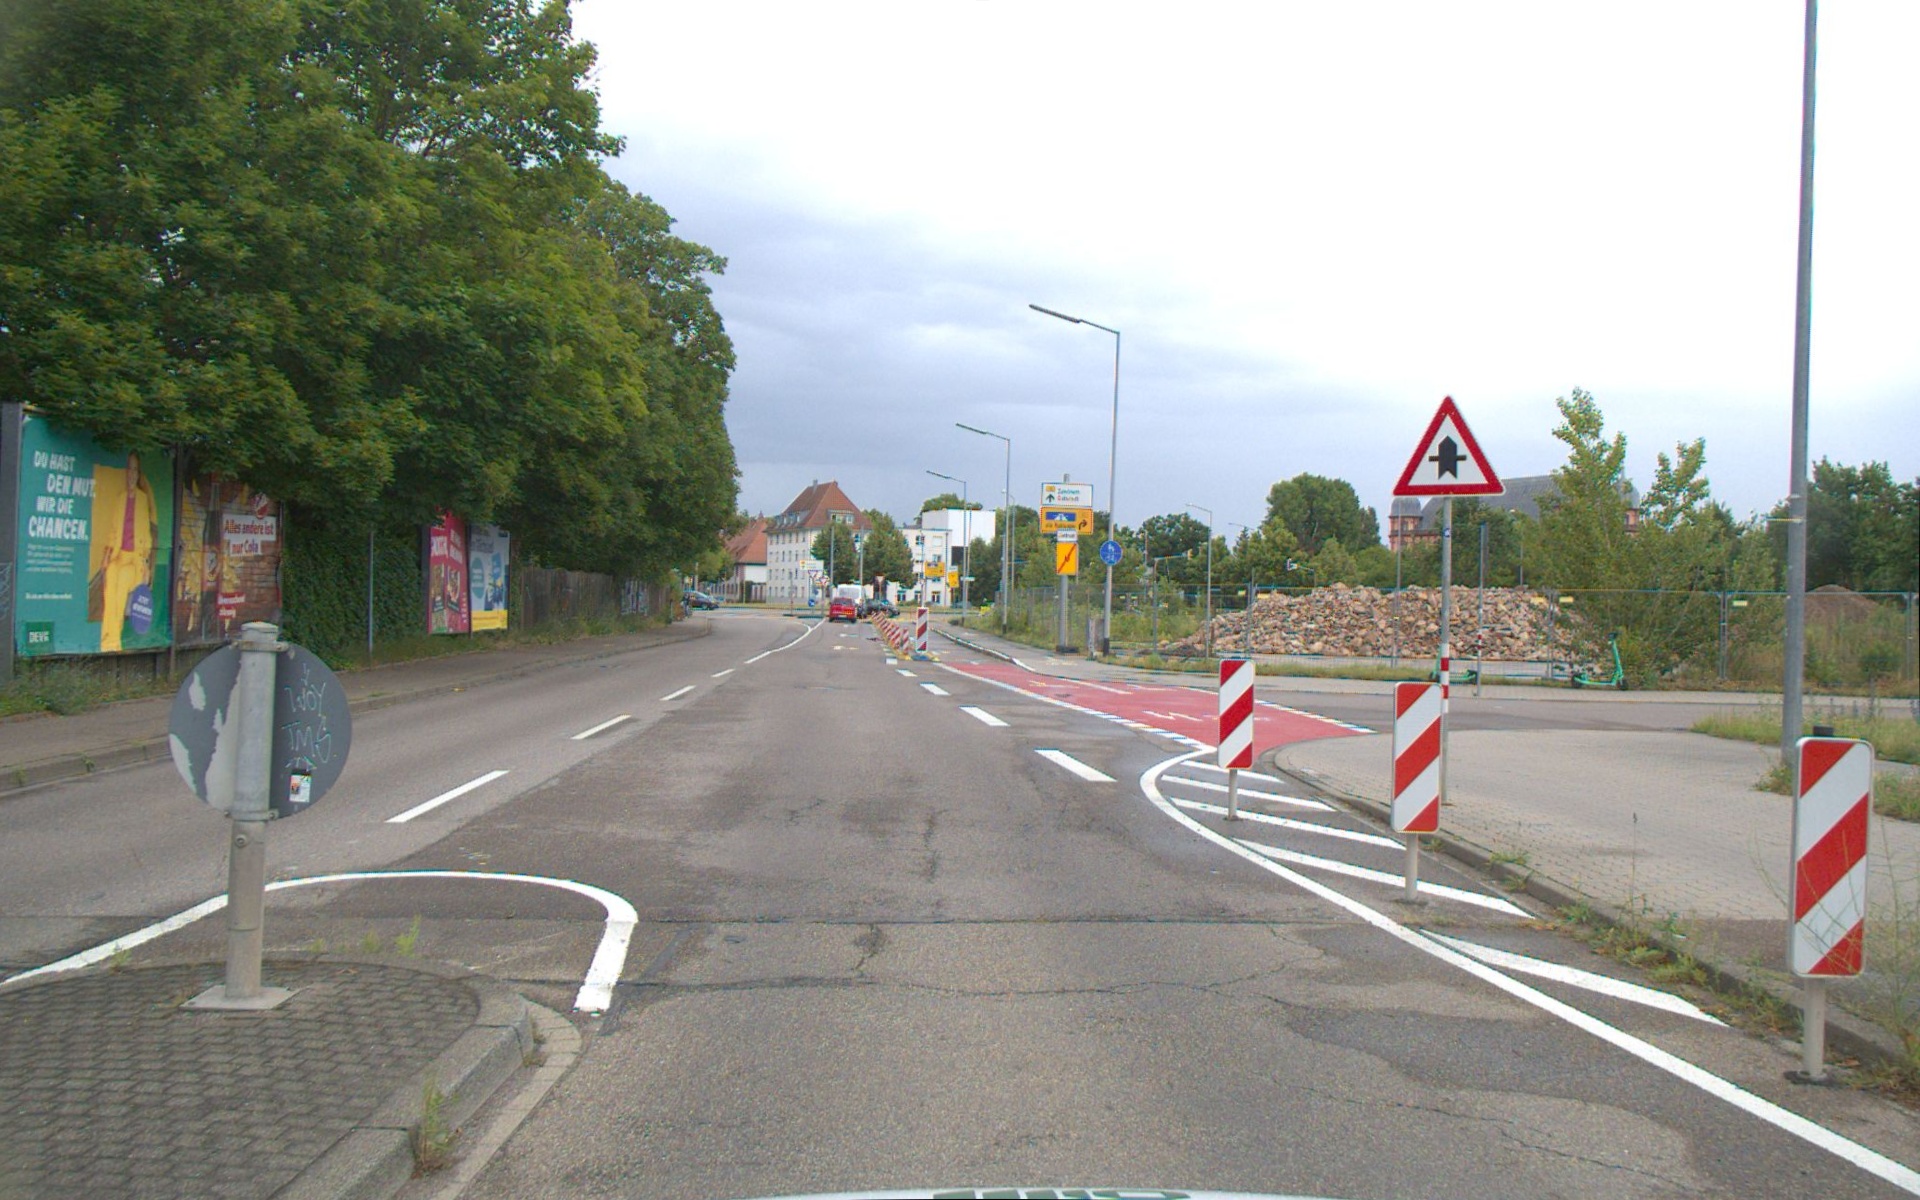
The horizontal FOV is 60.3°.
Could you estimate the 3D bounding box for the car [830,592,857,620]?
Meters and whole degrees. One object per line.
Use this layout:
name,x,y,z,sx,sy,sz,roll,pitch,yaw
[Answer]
car,-7.367,0.342,104.643,1.640,1.669,3.624,2,0,-4

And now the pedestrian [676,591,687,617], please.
pedestrian,-16.924,0.262,100.498,0.601,1.556,0.723,1,0,-8

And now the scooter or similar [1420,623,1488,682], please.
scooter or similar,10.506,1.103,35.196,1.300,1.206,0.444,1,0,37

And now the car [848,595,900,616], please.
car,-7.873,0.514,151.082,4.521,1.827,2.105,1,0,39

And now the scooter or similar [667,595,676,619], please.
scooter or similar,-14.161,0.333,81.219,0.415,1.191,1.301,1,0,-9

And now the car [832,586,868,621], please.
car,-8.480,0.265,128.184,2.149,2.584,4.963,2,0,2

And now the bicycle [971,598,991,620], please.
bicycle,1.599,0.661,124.411,1.447,1.640,0.606,1,0,-1

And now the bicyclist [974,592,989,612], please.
bicyclist,1.604,0.158,124.417,1.040,1.426,0.615,1,0,-1

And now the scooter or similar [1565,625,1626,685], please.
scooter or similar,13.232,1.135,34.448,1.146,1.206,0.446,1,0,21
